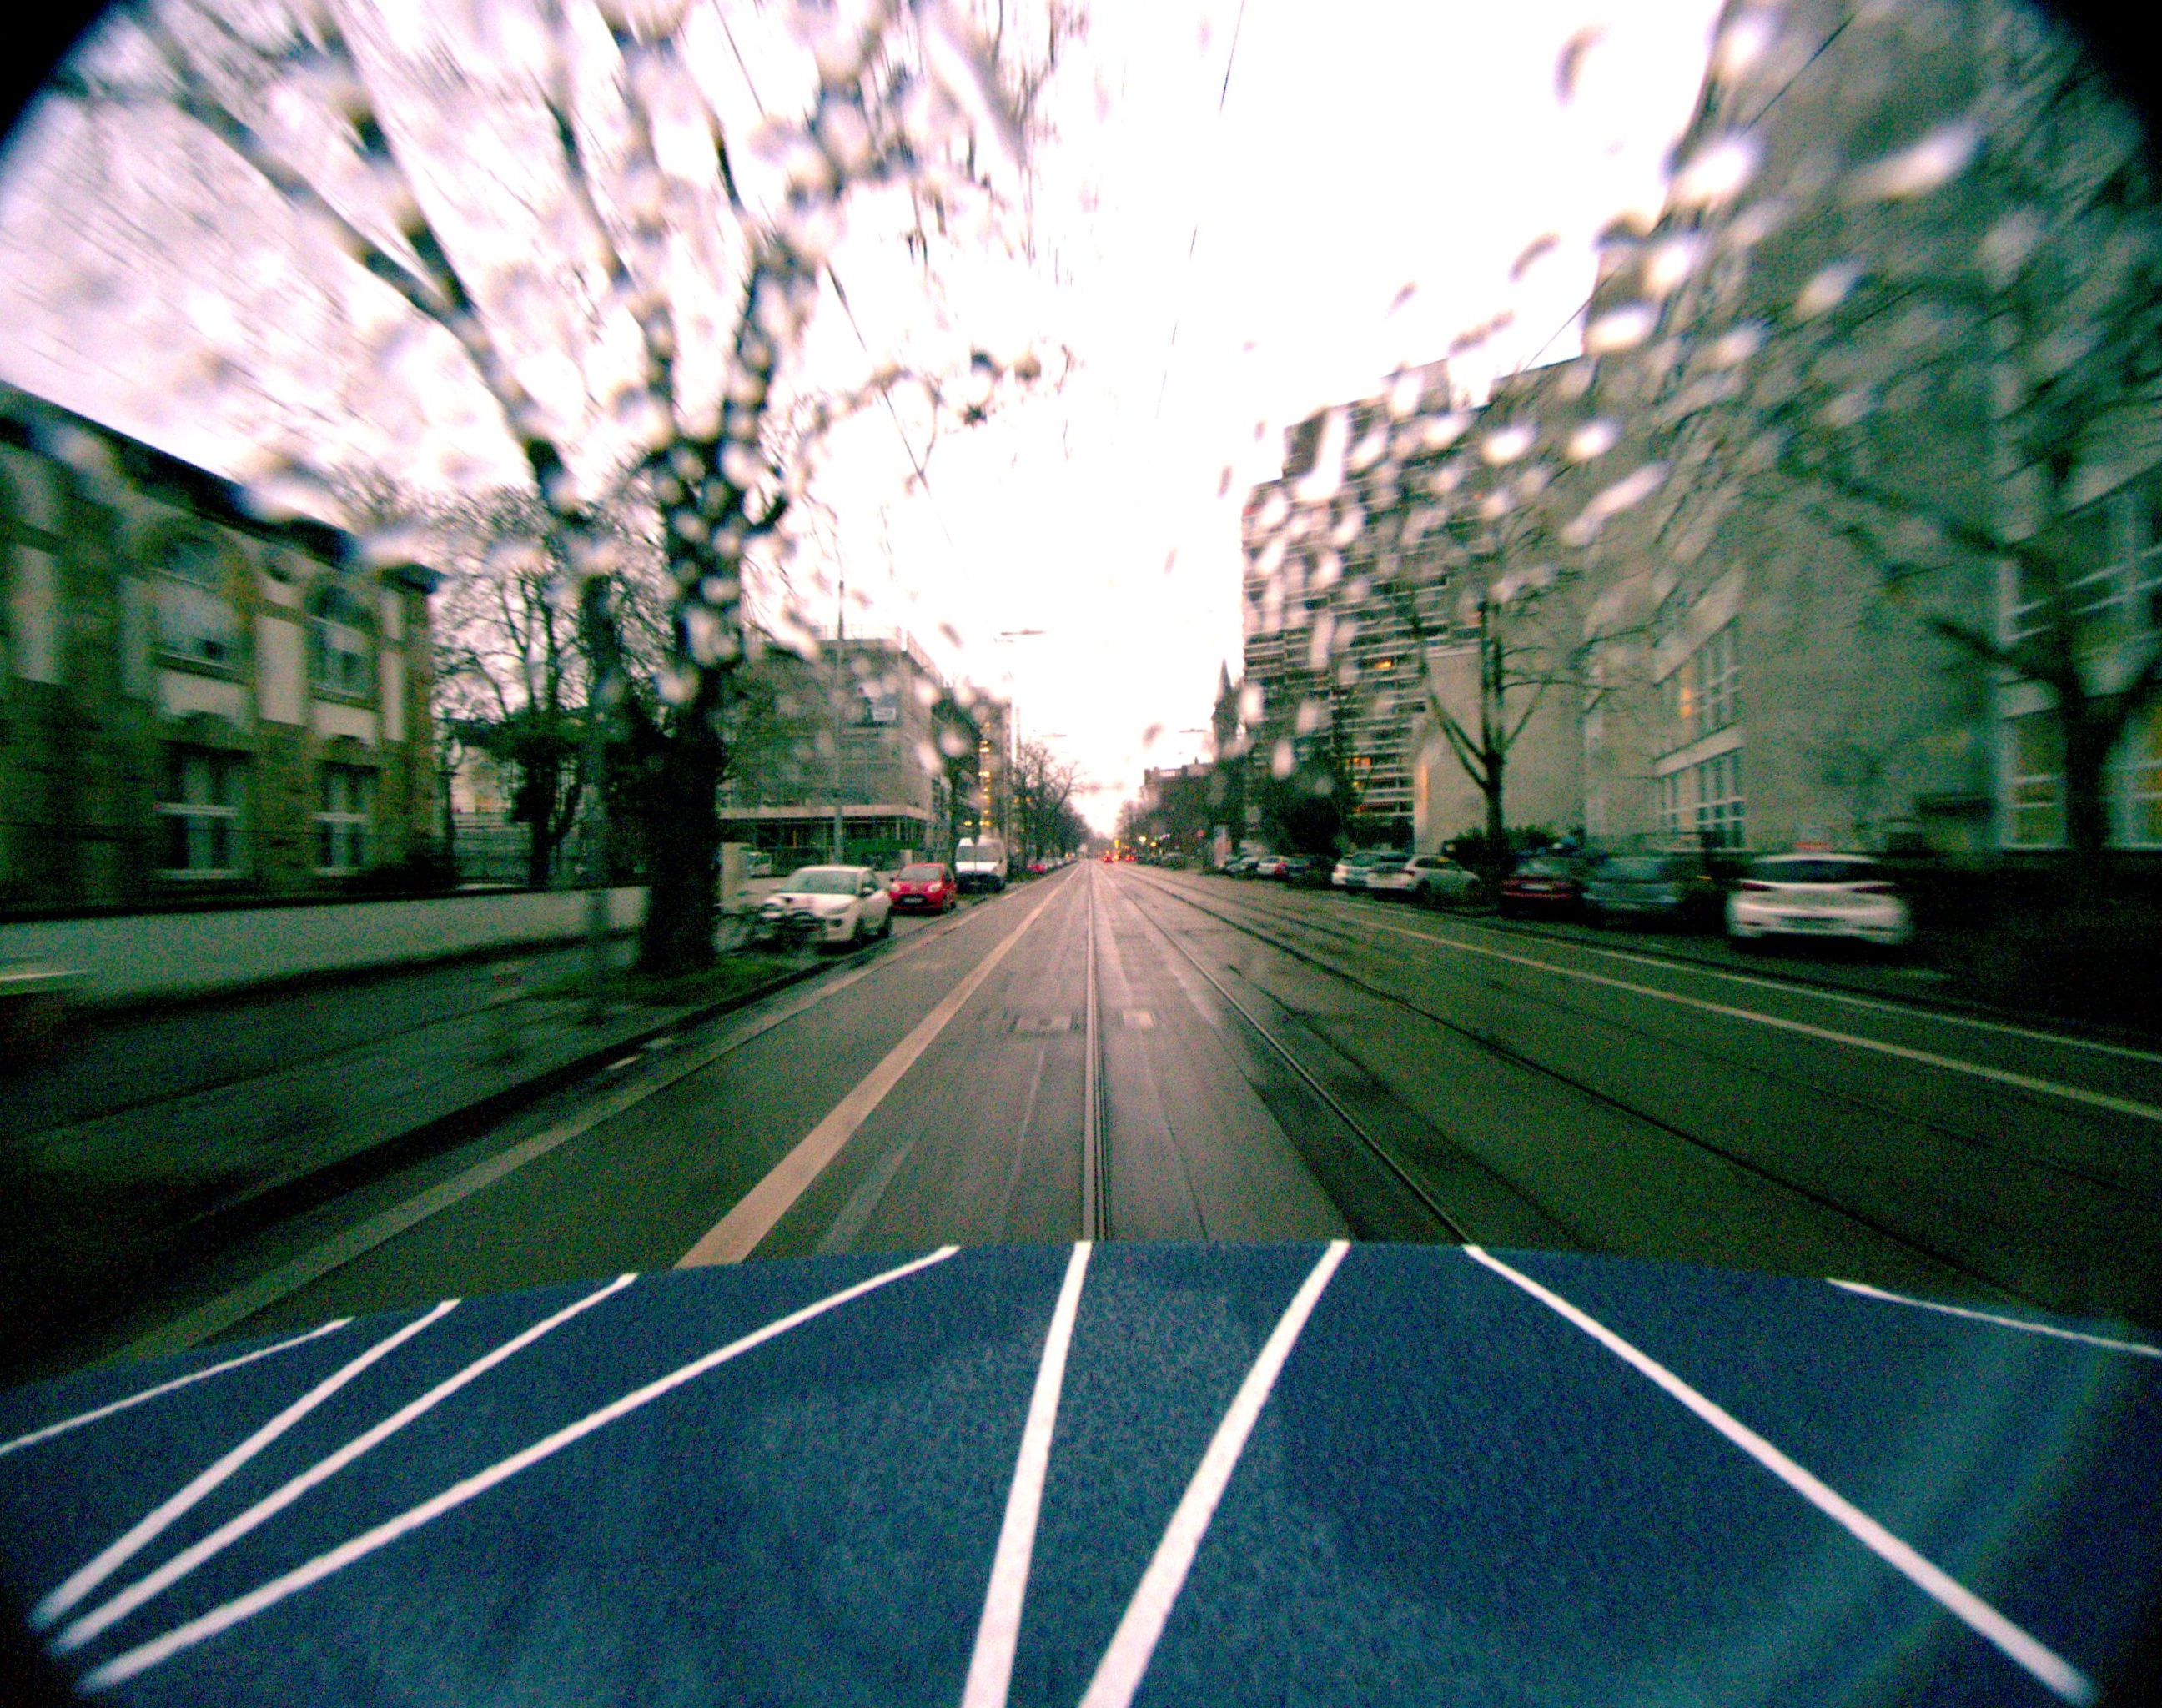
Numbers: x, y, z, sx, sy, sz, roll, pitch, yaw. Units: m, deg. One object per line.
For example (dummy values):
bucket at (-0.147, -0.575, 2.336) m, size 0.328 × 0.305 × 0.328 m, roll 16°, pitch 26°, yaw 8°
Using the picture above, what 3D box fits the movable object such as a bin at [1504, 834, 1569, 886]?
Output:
movable object such as a bin at (16.758, 0.222, 28.003) m, size 1.573 × 1.849 × 1.318 m, roll -1°, pitch -1°, yaw 2°

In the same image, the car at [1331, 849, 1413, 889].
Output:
car at (12.117, 0.595, 31.555) m, size 3.885 × 1.542 × 1.688 m, roll 0°, pitch 0°, yaw -44°

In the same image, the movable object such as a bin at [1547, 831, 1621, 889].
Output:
movable object such as a bin at (16.672, 0.216, 25.220) m, size 1.573 × 1.849 × 1.318 m, roll -1°, pitch -1°, yaw 2°

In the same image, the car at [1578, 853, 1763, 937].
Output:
car at (11.811, 0.714, 15.173) m, size 4.007 × 1.455 × 1.732 m, roll 0°, pitch 1°, yaw -34°

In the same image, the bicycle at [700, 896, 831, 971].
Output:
bicycle at (-4.794, 1.202, 11.603) m, size 1.717 × 1.064 × 0.663 m, roll -1°, pitch 0°, yaw 1°

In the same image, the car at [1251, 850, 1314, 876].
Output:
car at (11.862, 0.519, 44.511) m, size 1.788 × 1.437 × 4.008 m, roll -1°, pitch 0°, yaw 45°

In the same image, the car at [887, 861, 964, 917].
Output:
car at (-4.623, 0.998, 23.017) m, size 1.647 × 1.514 × 3.572 m, roll -2°, pitch 0°, yaw -2°

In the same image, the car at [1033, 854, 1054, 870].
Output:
car at (-3.807, 0.767, 77.247) m, size 1.753 × 1.575 × 3.737 m, roll -1°, pitch 0°, yaw 3°

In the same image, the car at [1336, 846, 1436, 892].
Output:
car at (11.139, 0.514, 27.626) m, size 4.008 × 1.554 × 1.732 m, roll 0°, pitch 0°, yaw -41°

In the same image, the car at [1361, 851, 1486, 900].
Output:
car at (11.036, 0.639, 24.440) m, size 4.007 × 1.435 × 1.732 m, roll 0°, pitch 1°, yaw -32°

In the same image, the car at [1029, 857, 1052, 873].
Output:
car at (-3.626, 0.982, 68.413) m, size 1.753 × 1.379 × 3.737 m, roll -1°, pitch 0°, yaw 3°

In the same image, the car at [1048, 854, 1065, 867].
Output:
car at (-3.130, 0.785, 97.394) m, size 1.866 × 1.584 × 4.001 m, roll -1°, pitch 0°, yaw 3°

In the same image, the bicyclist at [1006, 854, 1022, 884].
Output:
bicyclist at (-3.804, 0.824, 43.183) m, size 0.771 × 1.679 × 0.706 m, roll -1°, pitch 0°, yaw -13°

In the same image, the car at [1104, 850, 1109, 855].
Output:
car at (7.915, -0.407, 236.480) m, size 1.765 × 1.402 × 4.000 m, roll -1°, pitch 0°, yaw 1°

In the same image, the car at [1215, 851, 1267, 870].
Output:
car at (12.165, 0.493, 57.760) m, size 4.008 × 1.391 × 1.851 m, roll 0°, pitch 0°, yaw -41°

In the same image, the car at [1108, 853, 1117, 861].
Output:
car at (6.751, 0.613, 160.831) m, size 1.751 × 1.535 × 4.296 m, roll -1°, pitch 0°, yaw 3°

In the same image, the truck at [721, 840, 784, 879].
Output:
truck at (-23.317, 0.329, 54.284) m, size 2.132 × 2.573 × 7.075 m, roll -1°, pitch 1°, yaw -6°

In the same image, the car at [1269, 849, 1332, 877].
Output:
car at (12.058, 0.496, 41.620) m, size 3.458 × 1.484 × 1.725 m, roll 0°, pitch 0°, yaw -41°

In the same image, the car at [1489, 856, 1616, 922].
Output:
car at (11.293, 0.739, 18.054) m, size 1.745 × 1.344 × 4.357 m, roll 1°, pitch 1°, yaw 43°

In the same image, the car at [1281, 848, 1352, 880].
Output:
car at (11.801, 0.477, 37.964) m, size 3.862 × 1.484 × 1.691 m, roll 0°, pitch 0°, yaw -43°

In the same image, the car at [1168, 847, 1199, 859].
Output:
car at (13.298, -0.162, 98.580) m, size 3.995 × 1.477 × 1.673 m, roll -1°, pitch 0°, yaw 7°

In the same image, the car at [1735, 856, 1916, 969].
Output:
car at (11.308, 0.753, 11.569) m, size 3.861 × 1.415 × 1.732 m, roll 0°, pitch 0°, yaw -45°

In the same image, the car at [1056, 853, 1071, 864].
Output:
car at (-2.515, 0.654, 108.108) m, size 1.866 × 1.584 × 4.001 m, roll -1°, pitch 0°, yaw 3°

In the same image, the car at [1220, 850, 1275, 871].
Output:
car at (11.986, 0.483, 54.577) m, size 4.008 × 1.454 × 1.851 m, roll 0°, pitch 0°, yaw -41°

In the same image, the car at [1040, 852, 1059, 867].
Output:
car at (-3.604, 0.643, 87.980) m, size 1.866 × 1.584 × 4.001 m, roll -1°, pitch 0°, yaw 3°

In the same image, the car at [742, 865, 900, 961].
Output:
car at (-4.672, 0.986, 14.186) m, size 1.696 × 1.511 × 3.637 m, roll -1°, pitch 0°, yaw 0°

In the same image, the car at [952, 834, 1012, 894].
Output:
car at (-4.411, 0.436, 34.637) m, size 2.130 × 2.472 × 5.438 m, roll -1°, pitch 0°, yaw -2°

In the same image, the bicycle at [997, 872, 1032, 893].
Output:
bicycle at (-3.782, 1.595, 43.186) m, size 1.895 × 1.126 × 0.730 m, roll 0°, pitch 0°, yaw -13°

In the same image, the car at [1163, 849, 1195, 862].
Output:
car at (12.279, 0.202, 95.162) m, size 3.995 × 1.477 × 1.673 m, roll -1°, pitch 0°, yaw 7°

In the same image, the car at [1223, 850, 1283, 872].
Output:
car at (11.510, 0.460, 50.711) m, size 4.008 × 1.370 × 1.851 m, roll 0°, pitch 0°, yaw -41°

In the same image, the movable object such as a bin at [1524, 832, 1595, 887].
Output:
movable object such as a bin at (16.726, 0.203, 26.605) m, size 1.573 × 1.849 × 1.394 m, roll -1°, pitch -1°, yaw 2°
